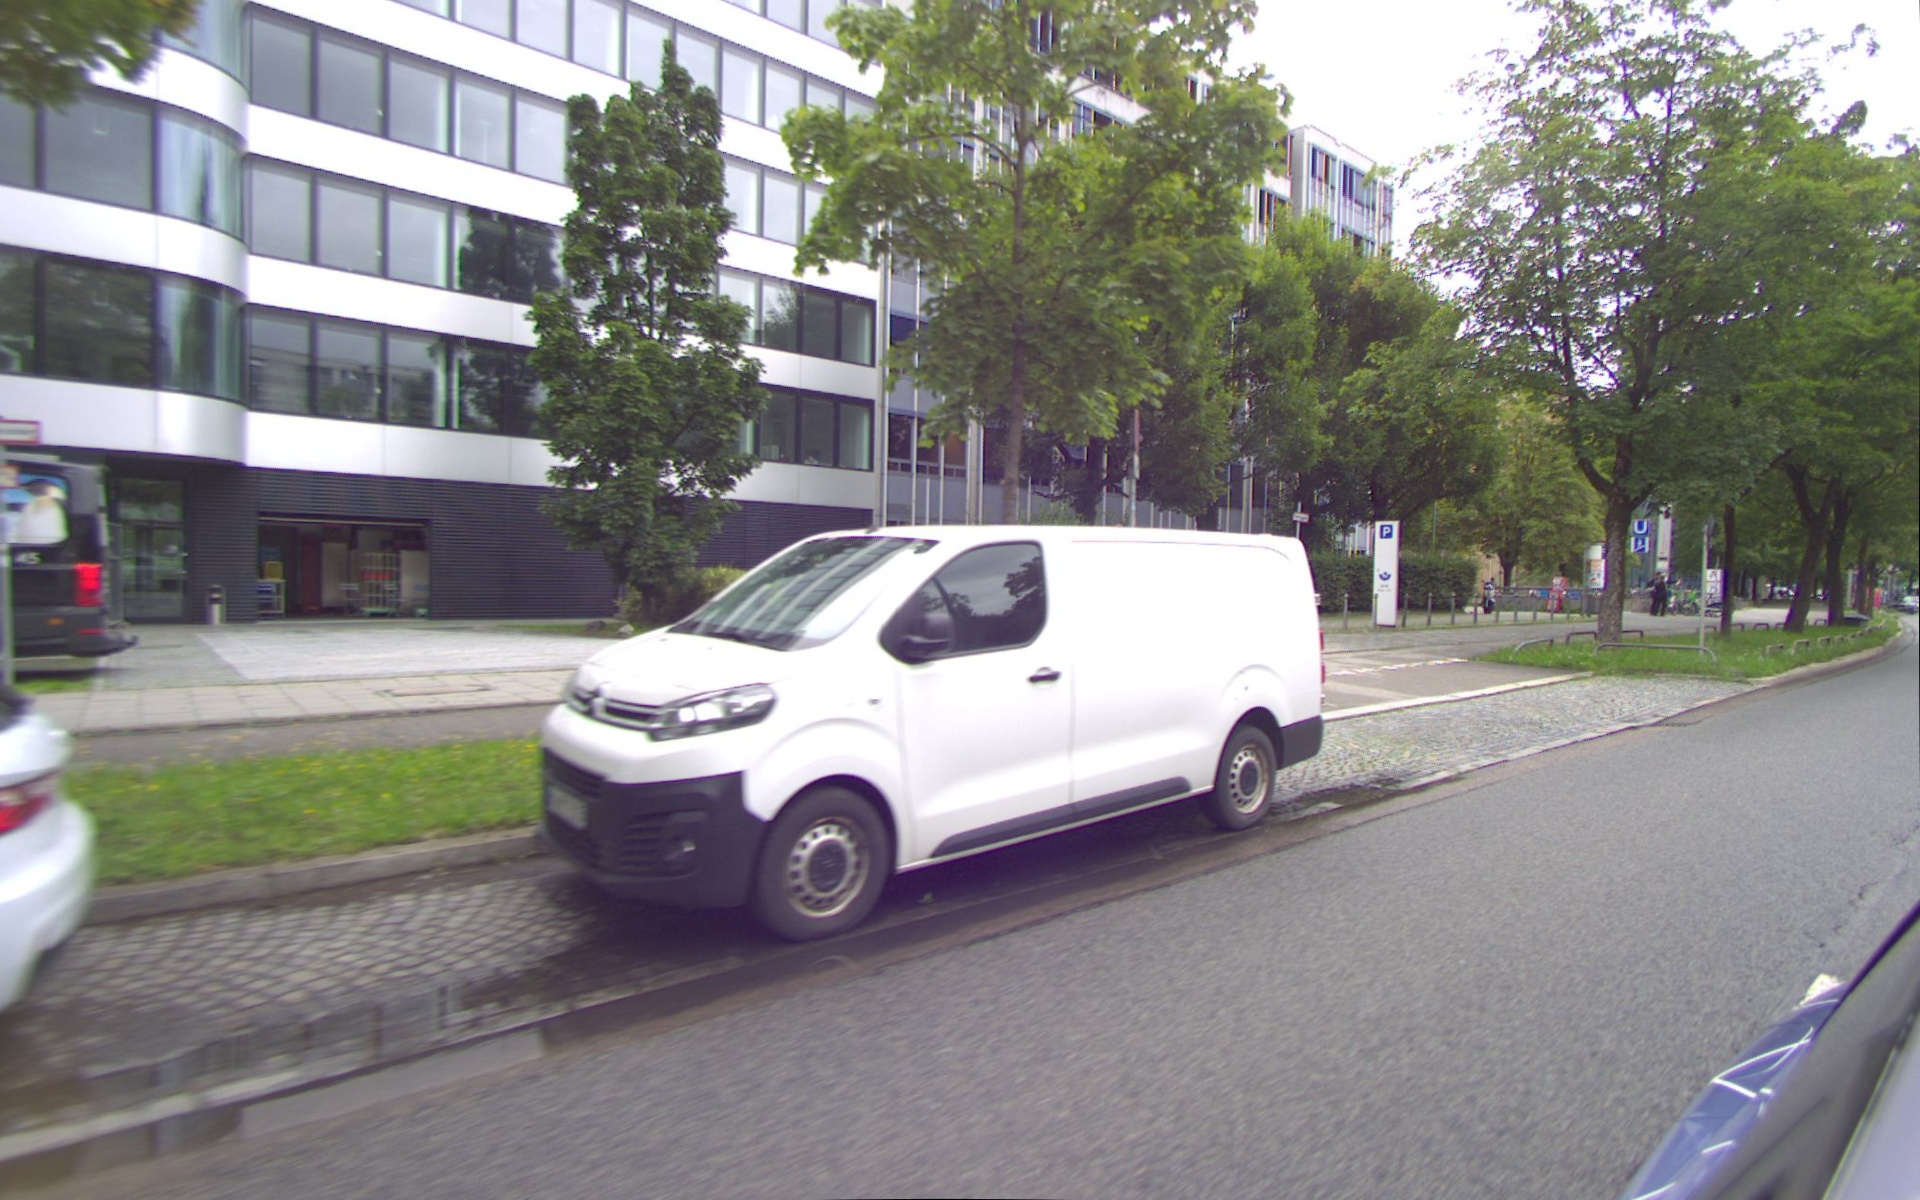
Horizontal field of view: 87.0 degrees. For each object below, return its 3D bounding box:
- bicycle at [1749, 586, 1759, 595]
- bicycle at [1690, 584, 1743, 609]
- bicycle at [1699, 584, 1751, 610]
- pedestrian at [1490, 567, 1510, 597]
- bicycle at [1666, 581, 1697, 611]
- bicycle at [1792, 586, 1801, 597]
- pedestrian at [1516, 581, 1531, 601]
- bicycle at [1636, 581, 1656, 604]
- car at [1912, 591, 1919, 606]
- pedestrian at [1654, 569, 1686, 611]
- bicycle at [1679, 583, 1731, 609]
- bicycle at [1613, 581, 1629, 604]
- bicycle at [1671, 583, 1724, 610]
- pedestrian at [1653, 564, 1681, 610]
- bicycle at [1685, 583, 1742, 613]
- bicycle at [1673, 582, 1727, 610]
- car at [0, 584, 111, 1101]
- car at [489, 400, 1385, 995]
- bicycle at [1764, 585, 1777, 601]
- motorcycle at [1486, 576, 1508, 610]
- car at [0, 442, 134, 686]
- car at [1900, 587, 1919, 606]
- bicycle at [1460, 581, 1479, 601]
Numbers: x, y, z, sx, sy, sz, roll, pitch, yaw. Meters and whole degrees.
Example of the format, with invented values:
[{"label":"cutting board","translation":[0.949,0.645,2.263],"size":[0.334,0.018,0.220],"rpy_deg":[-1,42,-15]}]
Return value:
[{"label":"bicycle","translation":[89.076,-1.029,113.493],"size":[2.029,0.952,0.571],"rpy_deg":[-1,3,-43]},{"label":"bicycle","translation":[37.015,-0.175,49.531],"size":[2.005,1.102,0.604],"rpy_deg":[3,4,5]},{"label":"bicycle","translation":[38.207,-0.160,50.567],"size":[1.996,1.112,0.580],"rpy_deg":[3,4,5]},{"label":"pedestrian","translation":[32.883,-1.085,61.642],"size":[0.754,1.794,0.689],"rpy_deg":[1,1,-30]},{"label":"bicycle","translation":[31.934,-0.164,44.782],"size":[1.826,1.241,0.532],"rpy_deg":[2,2,-37]},{"label":"bicycle","translation":[92.773,-0.987,112.227],"size":[2.105,1.207,0.512],"rpy_deg":[-1,3,-43]},{"label":"pedestrian","translation":[48.082,-0.797,86.389],"size":[0.861,1.666,0.573],"rpy_deg":[1,1,-4]},{"label":"bicycle","translation":[36.535,-0.394,53.903],"size":[1.922,1.203,0.446],"rpy_deg":[0,2,-44]},{"label":"car","translation":[91.786,-0.159,96.134],"size":[4.123,1.398,1.625],"rpy_deg":[0,3,-42]},{"label":"pedestrian","translation":[29.634,-0.422,42.257],"size":[0.735,1.735,0.787],"rpy_deg":[1,1,-27]},{"label":"bicycle","translation":[35.972,-0.183,48.873],"size":[1.920,1.078,0.580],"rpy_deg":[4,3,5]},{"label":"bicycle","translation":[36.069,-0.414,55.189],"size":[0.510,1.203,2.112],"rpy_deg":[2,2,39]},{"label":"bicycle","translation":[35.009,-0.172,48.072],"size":[1.920,1.096,0.596],"rpy_deg":[4,1,5]},{"label":"pedestrian","translation":[30.135,-0.553,43.126],"size":[0.734,1.923,0.654],"rpy_deg":[1,1,-29]},{"label":"bicycle","translation":[34.425,-0.111,46.262],"size":[1.927,1.203,0.594],"rpy_deg":[5,2,16]},{"label":"bicycle","translation":[34.547,-0.171,47.263],"size":[1.920,1.122,0.580],"rpy_deg":[5,2,5]},{"label":"car","translation":[-4.672,0.684,2.316],"size":[4.158,1.414,1.706],"rpy_deg":[0,2,-40]},{"label":"car","translation":[0.286,0.313,6.239],"size":[5.457,2.184,1.992],"rpy_deg":[0,2,-40]},{"label":"bicycle","translation":[63.932,-0.551,79.827],"size":[0.620,1.265,1.891],"rpy_deg":[3,2,42]},{"label":"motorcycle","translation":[21.954,-0.304,41.361],"size":[0.546,1.335,2.048],"rpy_deg":[2,2,34]},{"label":"car","translation":[-11.479,-0.387,9.127],"size":[6.161,2.335,2.268],"rpy_deg":[0,2,-42]},{"label":"car","translation":[84.710,-0.296,89.616],"size":[4.526,1.610,1.863],"rpy_deg":[0,3,-43]},{"label":"bicycle","translation":[33.899,-0.615,67.356],"size":[0.606,1.276,2.025],"rpy_deg":[2,2,41]}]
